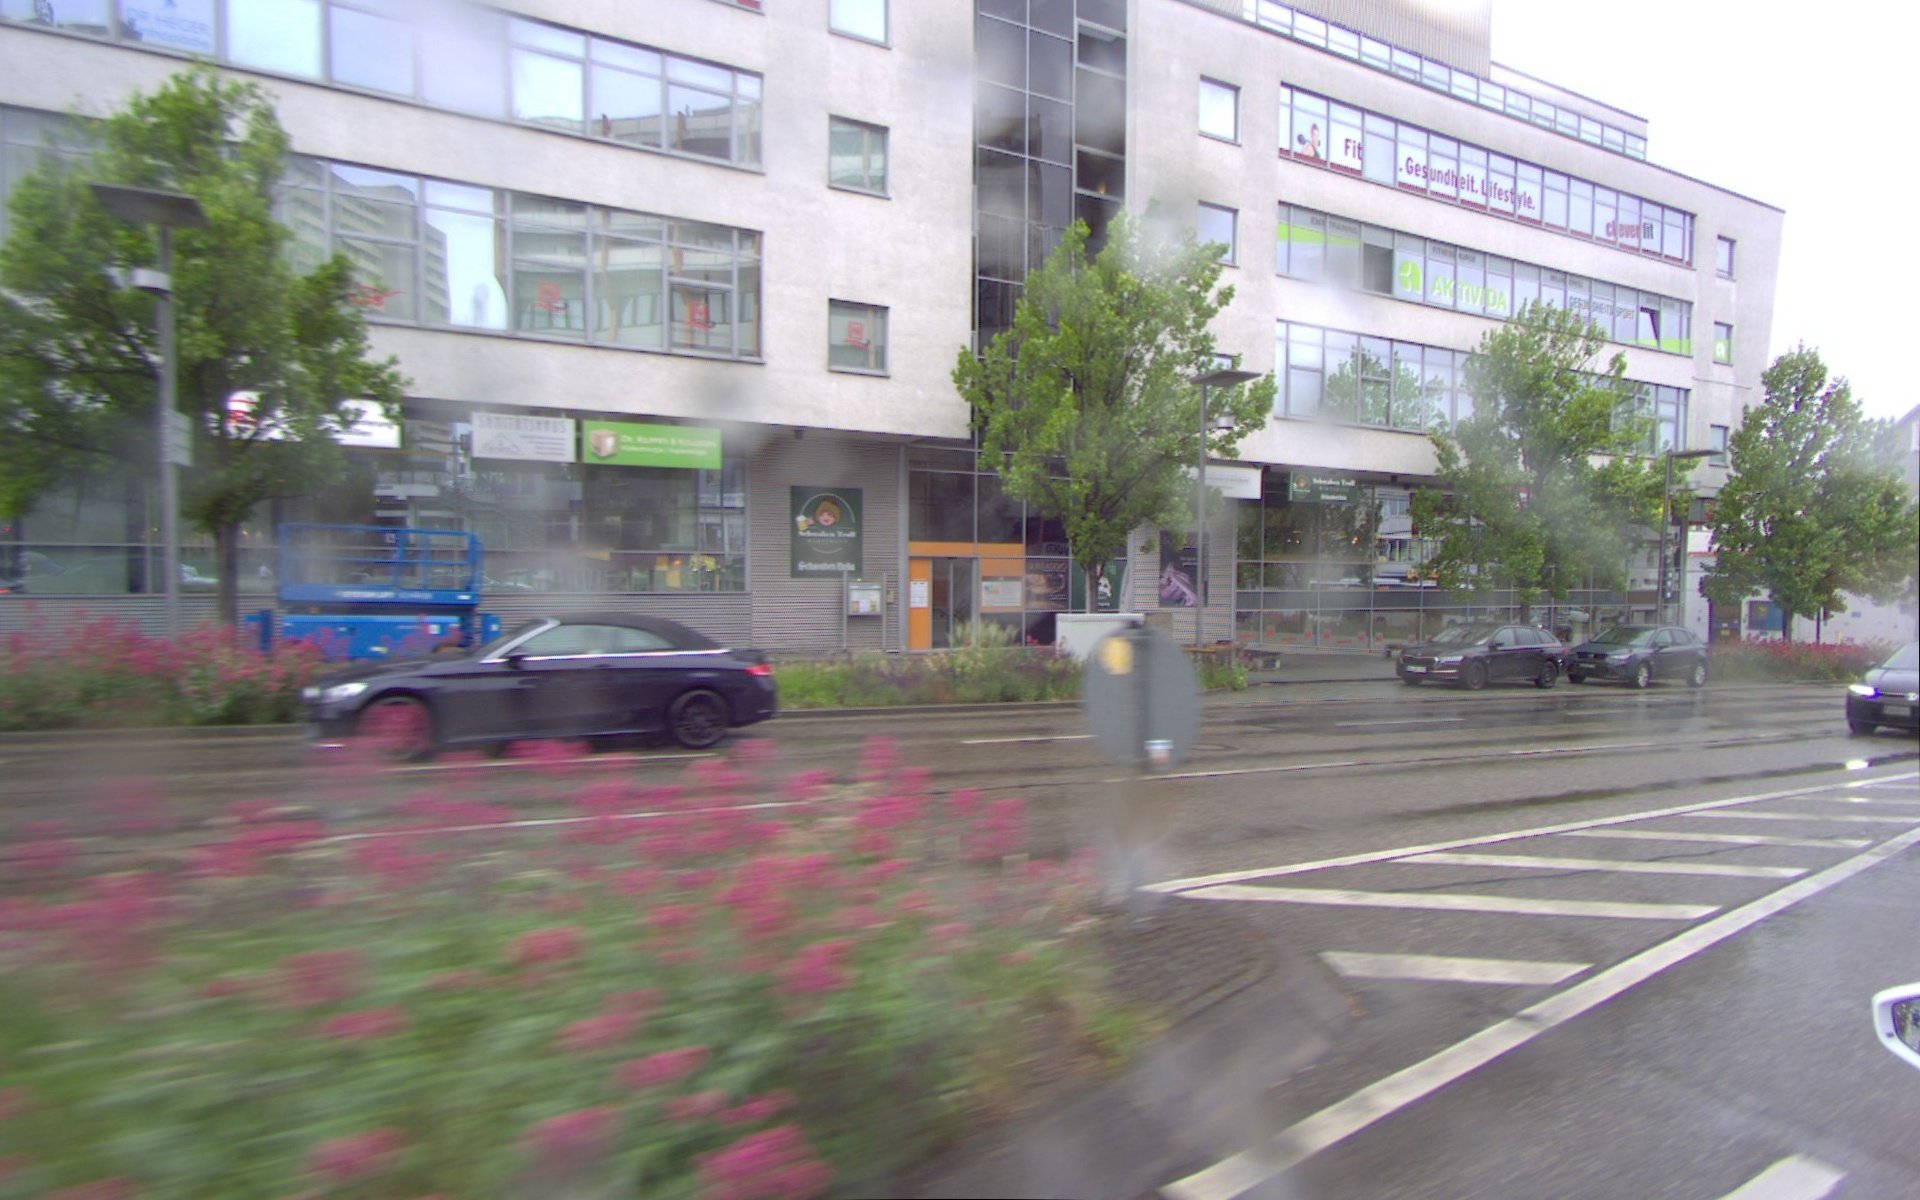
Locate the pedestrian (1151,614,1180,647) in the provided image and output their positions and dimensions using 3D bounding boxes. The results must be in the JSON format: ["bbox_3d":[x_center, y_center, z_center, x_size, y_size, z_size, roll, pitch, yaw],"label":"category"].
[{"bbox_3d":[6.297,0.939,30.835,0.679,0.989,0.523,2,0,-28],"label":"pedestrian"}]

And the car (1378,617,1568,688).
[{"bbox_3d":[11.913,1.187,23.267,4.423,1.466,1.817,2,0,-30],"label":"car"}]

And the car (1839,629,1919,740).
[{"bbox_3d":[15.352,1.265,15.496,4.348,1.537,1.696,2,0,-35],"label":"car"}]

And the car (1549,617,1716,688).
[{"bbox_3d":[17.009,1.301,25.380,3.953,1.617,1.984,2,0,-30],"label":"car"}]

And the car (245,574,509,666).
[{"bbox_3d":[-9.781,0.352,17.143,3.683,1.429,1.746,2,0,-28],"label":"car"}]

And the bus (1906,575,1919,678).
[{"bbox_3d":[35.063,1.000,32.518,11.851,3.140,2.880,2,0,-29],"label":"bus"}]

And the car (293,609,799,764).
[{"bbox_3d":[-4.200,0.833,10.691,4.646,1.363,1.625,2,-1,-28],"label":"car"}]
